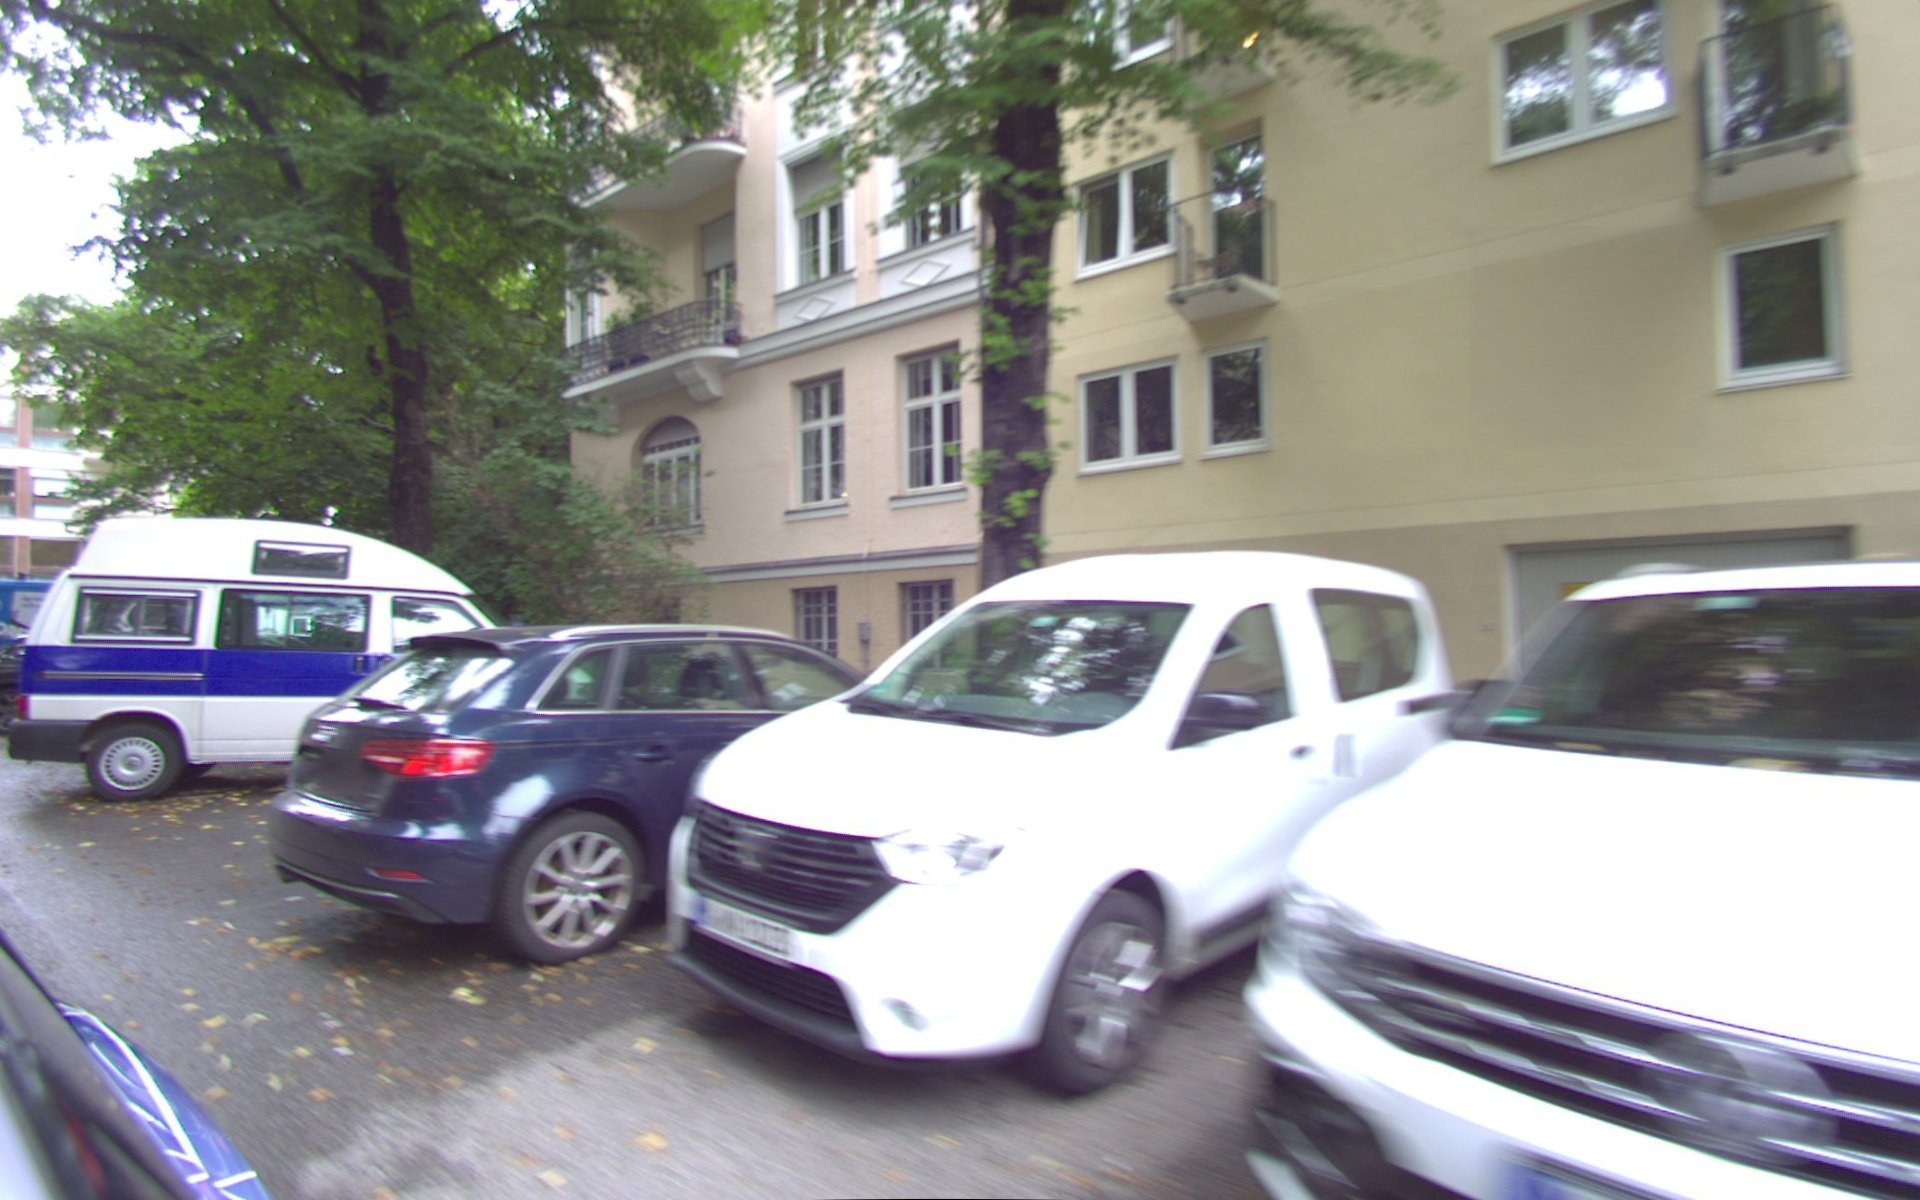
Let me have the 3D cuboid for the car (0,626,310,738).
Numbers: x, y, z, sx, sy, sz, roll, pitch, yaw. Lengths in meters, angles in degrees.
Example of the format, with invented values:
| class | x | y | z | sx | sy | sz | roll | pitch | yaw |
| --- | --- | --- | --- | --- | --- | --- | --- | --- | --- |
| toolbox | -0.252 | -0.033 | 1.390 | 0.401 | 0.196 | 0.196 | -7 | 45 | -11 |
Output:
| class | x | y | z | sx | sy | sz | roll | pitch | yaw |
| --- | --- | --- | --- | --- | --- | --- | --- | --- | --- |
| car | -12.297 | 1.187 | 15.116 | 3.934 | 1.548 | 1.820 | 1 | -2 | -11 |

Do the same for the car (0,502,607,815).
| class | x | y | z | sx | sy | sz | roll | pitch | yaw |
| --- | --- | --- | --- | --- | --- | --- | --- | --- | --- |
| car | -5.813 | 0.523 | 9.538 | 4.504 | 2.396 | 1.911 | 1 | -3 | -25 |

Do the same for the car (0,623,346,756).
| class | x | y | z | sx | sy | sz | roll | pitch | yaw |
| --- | --- | --- | --- | --- | --- | --- | --- | --- | --- |
| car | -10.467 | 1.111 | 13.253 | 3.801 | 1.572 | 1.821 | 1 | -2 | -19 |

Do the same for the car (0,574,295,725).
| class | x | y | z | sx | sy | sz | roll | pitch | yaw |
| --- | --- | --- | --- | --- | --- | --- | --- | --- | --- |
| car | -14.813 | 0.836 | 17.191 | 5.403 | 2.372 | 2.071 | 2 | -2 | -14 |

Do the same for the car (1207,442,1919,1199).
| class | x | y | z | sx | sy | sz | roll | pitch | yaw |
| --- | --- | --- | --- | --- | --- | --- | --- | --- | --- |
| car | 2.659 | 0.637 | 2.725 | 4.397 | 1.609 | 1.836 | 1 | -2 | -45 |

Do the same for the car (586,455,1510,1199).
| class | x | y | z | sx | sy | sz | roll | pitch | yaw |
| --- | --- | --- | --- | --- | --- | --- | --- | --- | --- |
| car | 0.803 | 0.623 | 4.514 | 1.848 | 1.744 | 4.265 | -3 | -3 | 43 |

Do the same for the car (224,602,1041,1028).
| class | x | y | z | sx | sy | sz | roll | pitch | yaw |
| --- | --- | --- | --- | --- | --- | --- | --- | --- | --- |
| car | -1.403 | 0.814 | 5.549 | 1.734 | 1.444 | 3.946 | -2 | -3 | 40 |
